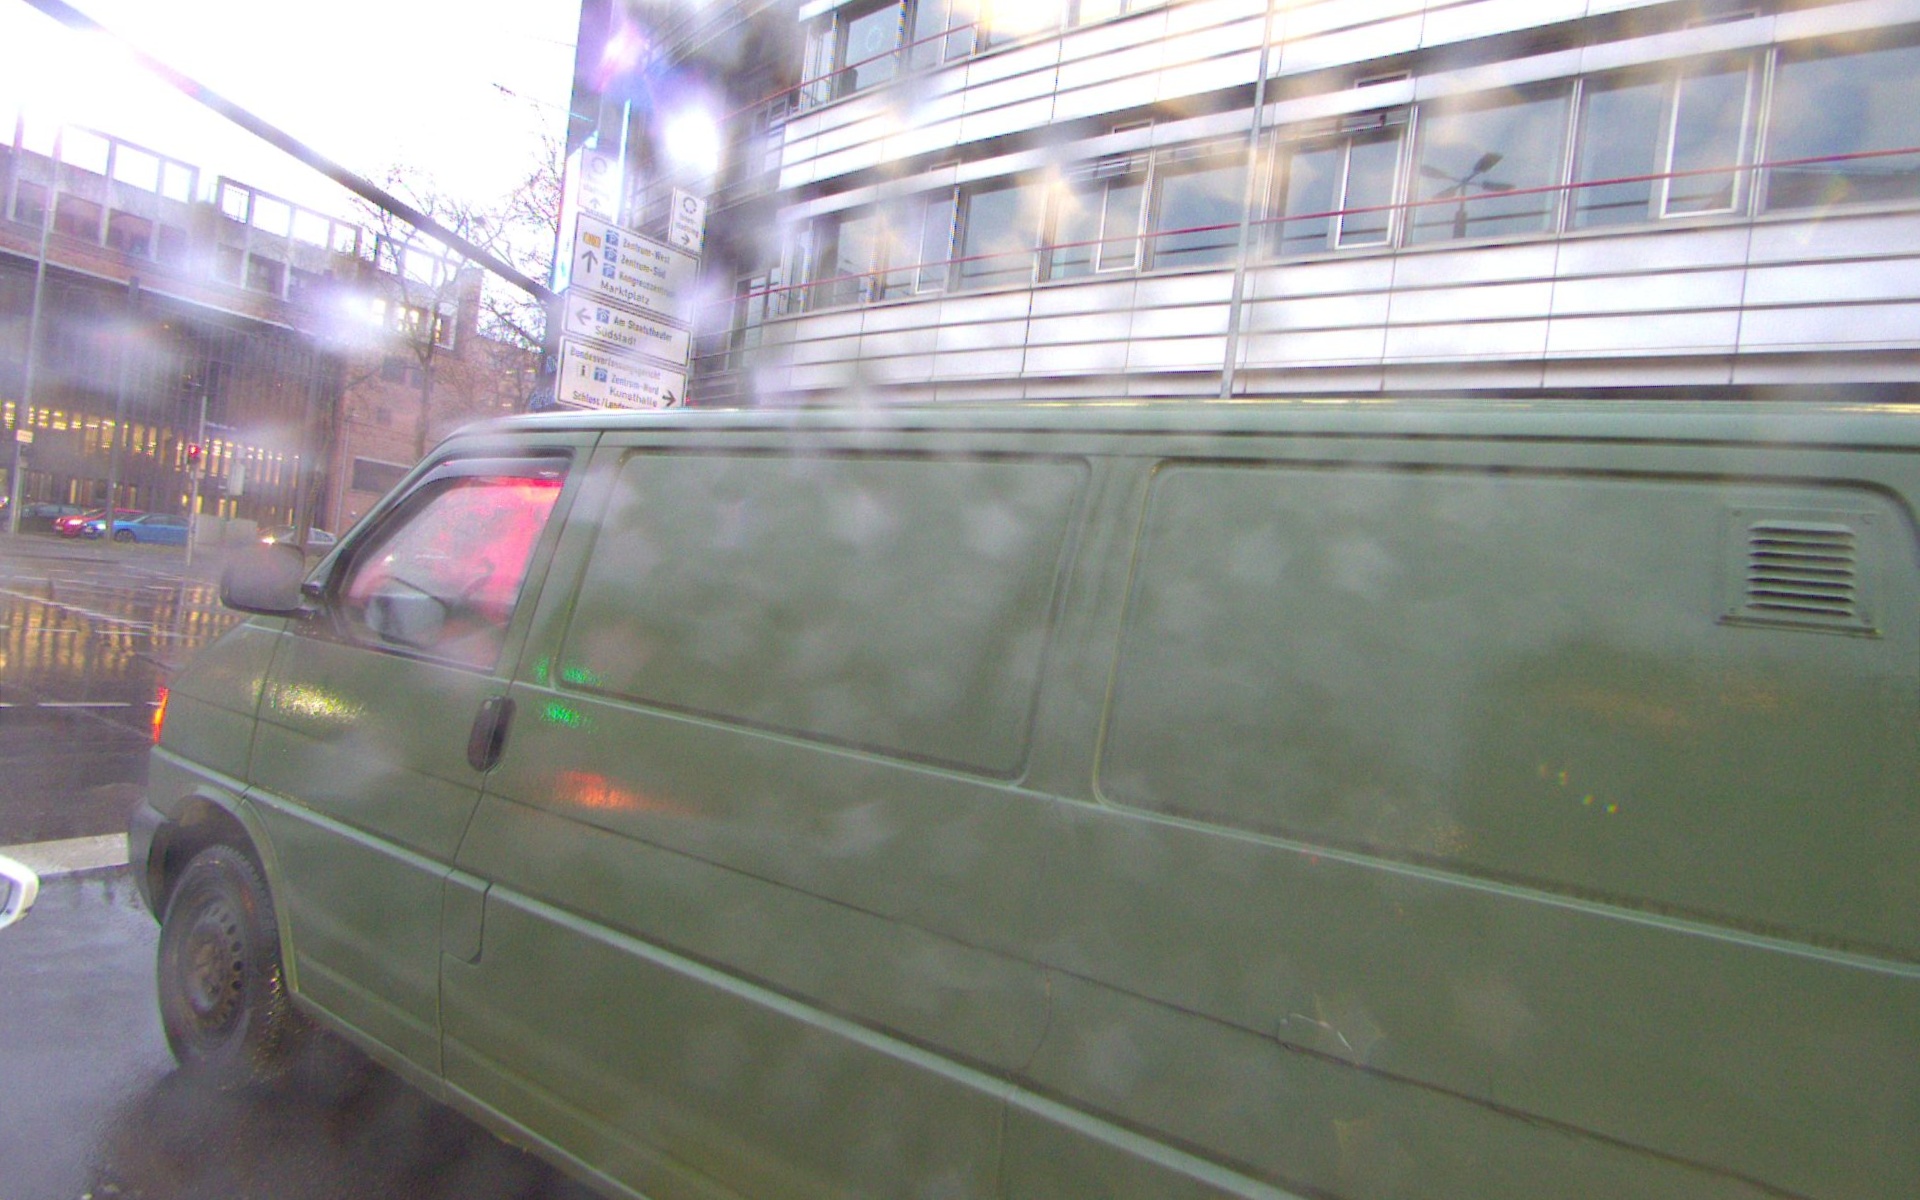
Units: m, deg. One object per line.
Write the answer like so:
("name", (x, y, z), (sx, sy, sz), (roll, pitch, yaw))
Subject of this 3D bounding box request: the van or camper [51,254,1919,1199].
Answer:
("van or camper", (-0.323, 0.544, 2.627), (4.345, 1.929, 1.760), (7, -1, 32))

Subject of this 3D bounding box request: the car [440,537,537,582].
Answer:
("car", (-23.549, -1.992, 50.409), (1.814, 1.621, 3.996), (11, 1, 26))

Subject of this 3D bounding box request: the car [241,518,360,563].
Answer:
("car", (-29.623, -2.664, 45.307), (1.814, 1.304, 3.996), (11, 1, 26))

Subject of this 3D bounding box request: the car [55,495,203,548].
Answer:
("car", (-32.428, -3.034, 39.386), (1.814, 1.278, 3.996), (11, 1, 26))

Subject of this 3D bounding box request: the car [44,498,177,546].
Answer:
("car", (-35.470, -3.250, 42.104), (1.814, 1.278, 3.729), (11, 1, 26))

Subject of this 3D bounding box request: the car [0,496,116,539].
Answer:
("car", (-39.198, -3.563, 43.212), (1.965, 1.326, 3.994), (7, 0, 28))

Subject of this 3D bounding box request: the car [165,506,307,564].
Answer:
("car", (-28.291, -2.512, 39.443), (1.814, 1.523, 3.996), (11, 1, 26))

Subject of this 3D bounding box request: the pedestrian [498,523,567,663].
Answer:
("pedestrian", (-7.030, -0.101, 16.543), (0.609, 2.210, 0.576), (6, 0, 26))

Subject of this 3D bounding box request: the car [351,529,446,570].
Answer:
("car", (-30.154, -2.709, 54.133), (1.814, 1.523, 3.996), (11, 1, 26))
